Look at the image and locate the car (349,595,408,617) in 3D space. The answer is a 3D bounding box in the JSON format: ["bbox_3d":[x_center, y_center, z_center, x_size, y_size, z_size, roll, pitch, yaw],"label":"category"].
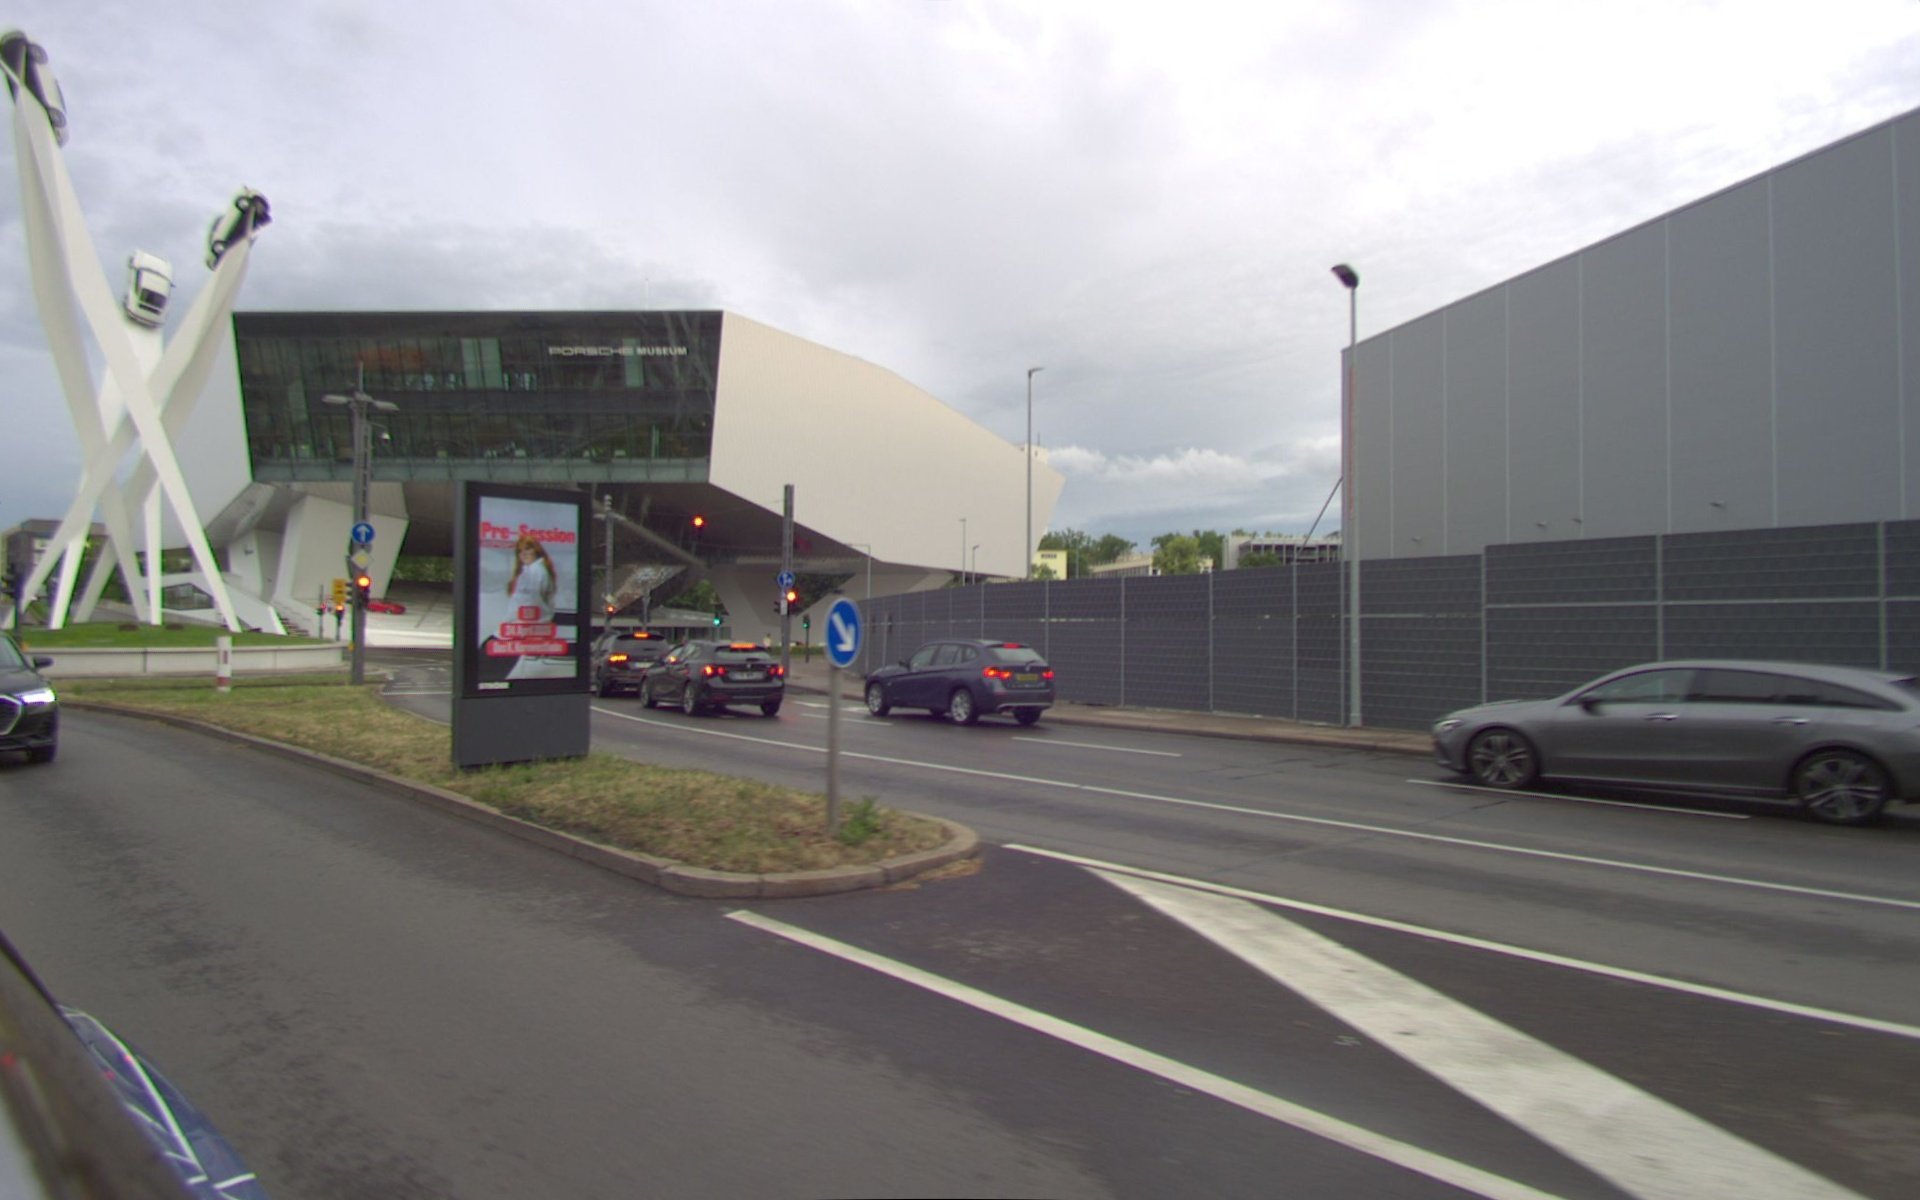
[{"bbox_3d":[-53.834,0.578,93.679,4.189,1.394,1.999,8,-1,1],"label":"car"}]

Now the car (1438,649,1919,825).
[{"bbox_3d":[7.382,1.221,9.930,1.762,1.396,4.548,5,-5,-45],"label":"car"}]

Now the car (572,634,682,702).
[{"bbox_3d":[-8.657,1.671,26.079,1.758,1.600,4.580,1,-2,-30],"label":"car"}]

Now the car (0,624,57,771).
[{"bbox_3d":[-11.980,1.078,11.671,4.391,1.530,1.734,-2,-1,40],"label":"car"}]

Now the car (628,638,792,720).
[{"bbox_3d":[-5.116,1.490,20.308,1.759,1.451,4.406,1,-2,-34],"label":"car"}]

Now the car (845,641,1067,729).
[{"bbox_3d":[-0.206,1.535,19.395,1.760,1.465,4.568,3,-4,-40],"label":"car"}]
